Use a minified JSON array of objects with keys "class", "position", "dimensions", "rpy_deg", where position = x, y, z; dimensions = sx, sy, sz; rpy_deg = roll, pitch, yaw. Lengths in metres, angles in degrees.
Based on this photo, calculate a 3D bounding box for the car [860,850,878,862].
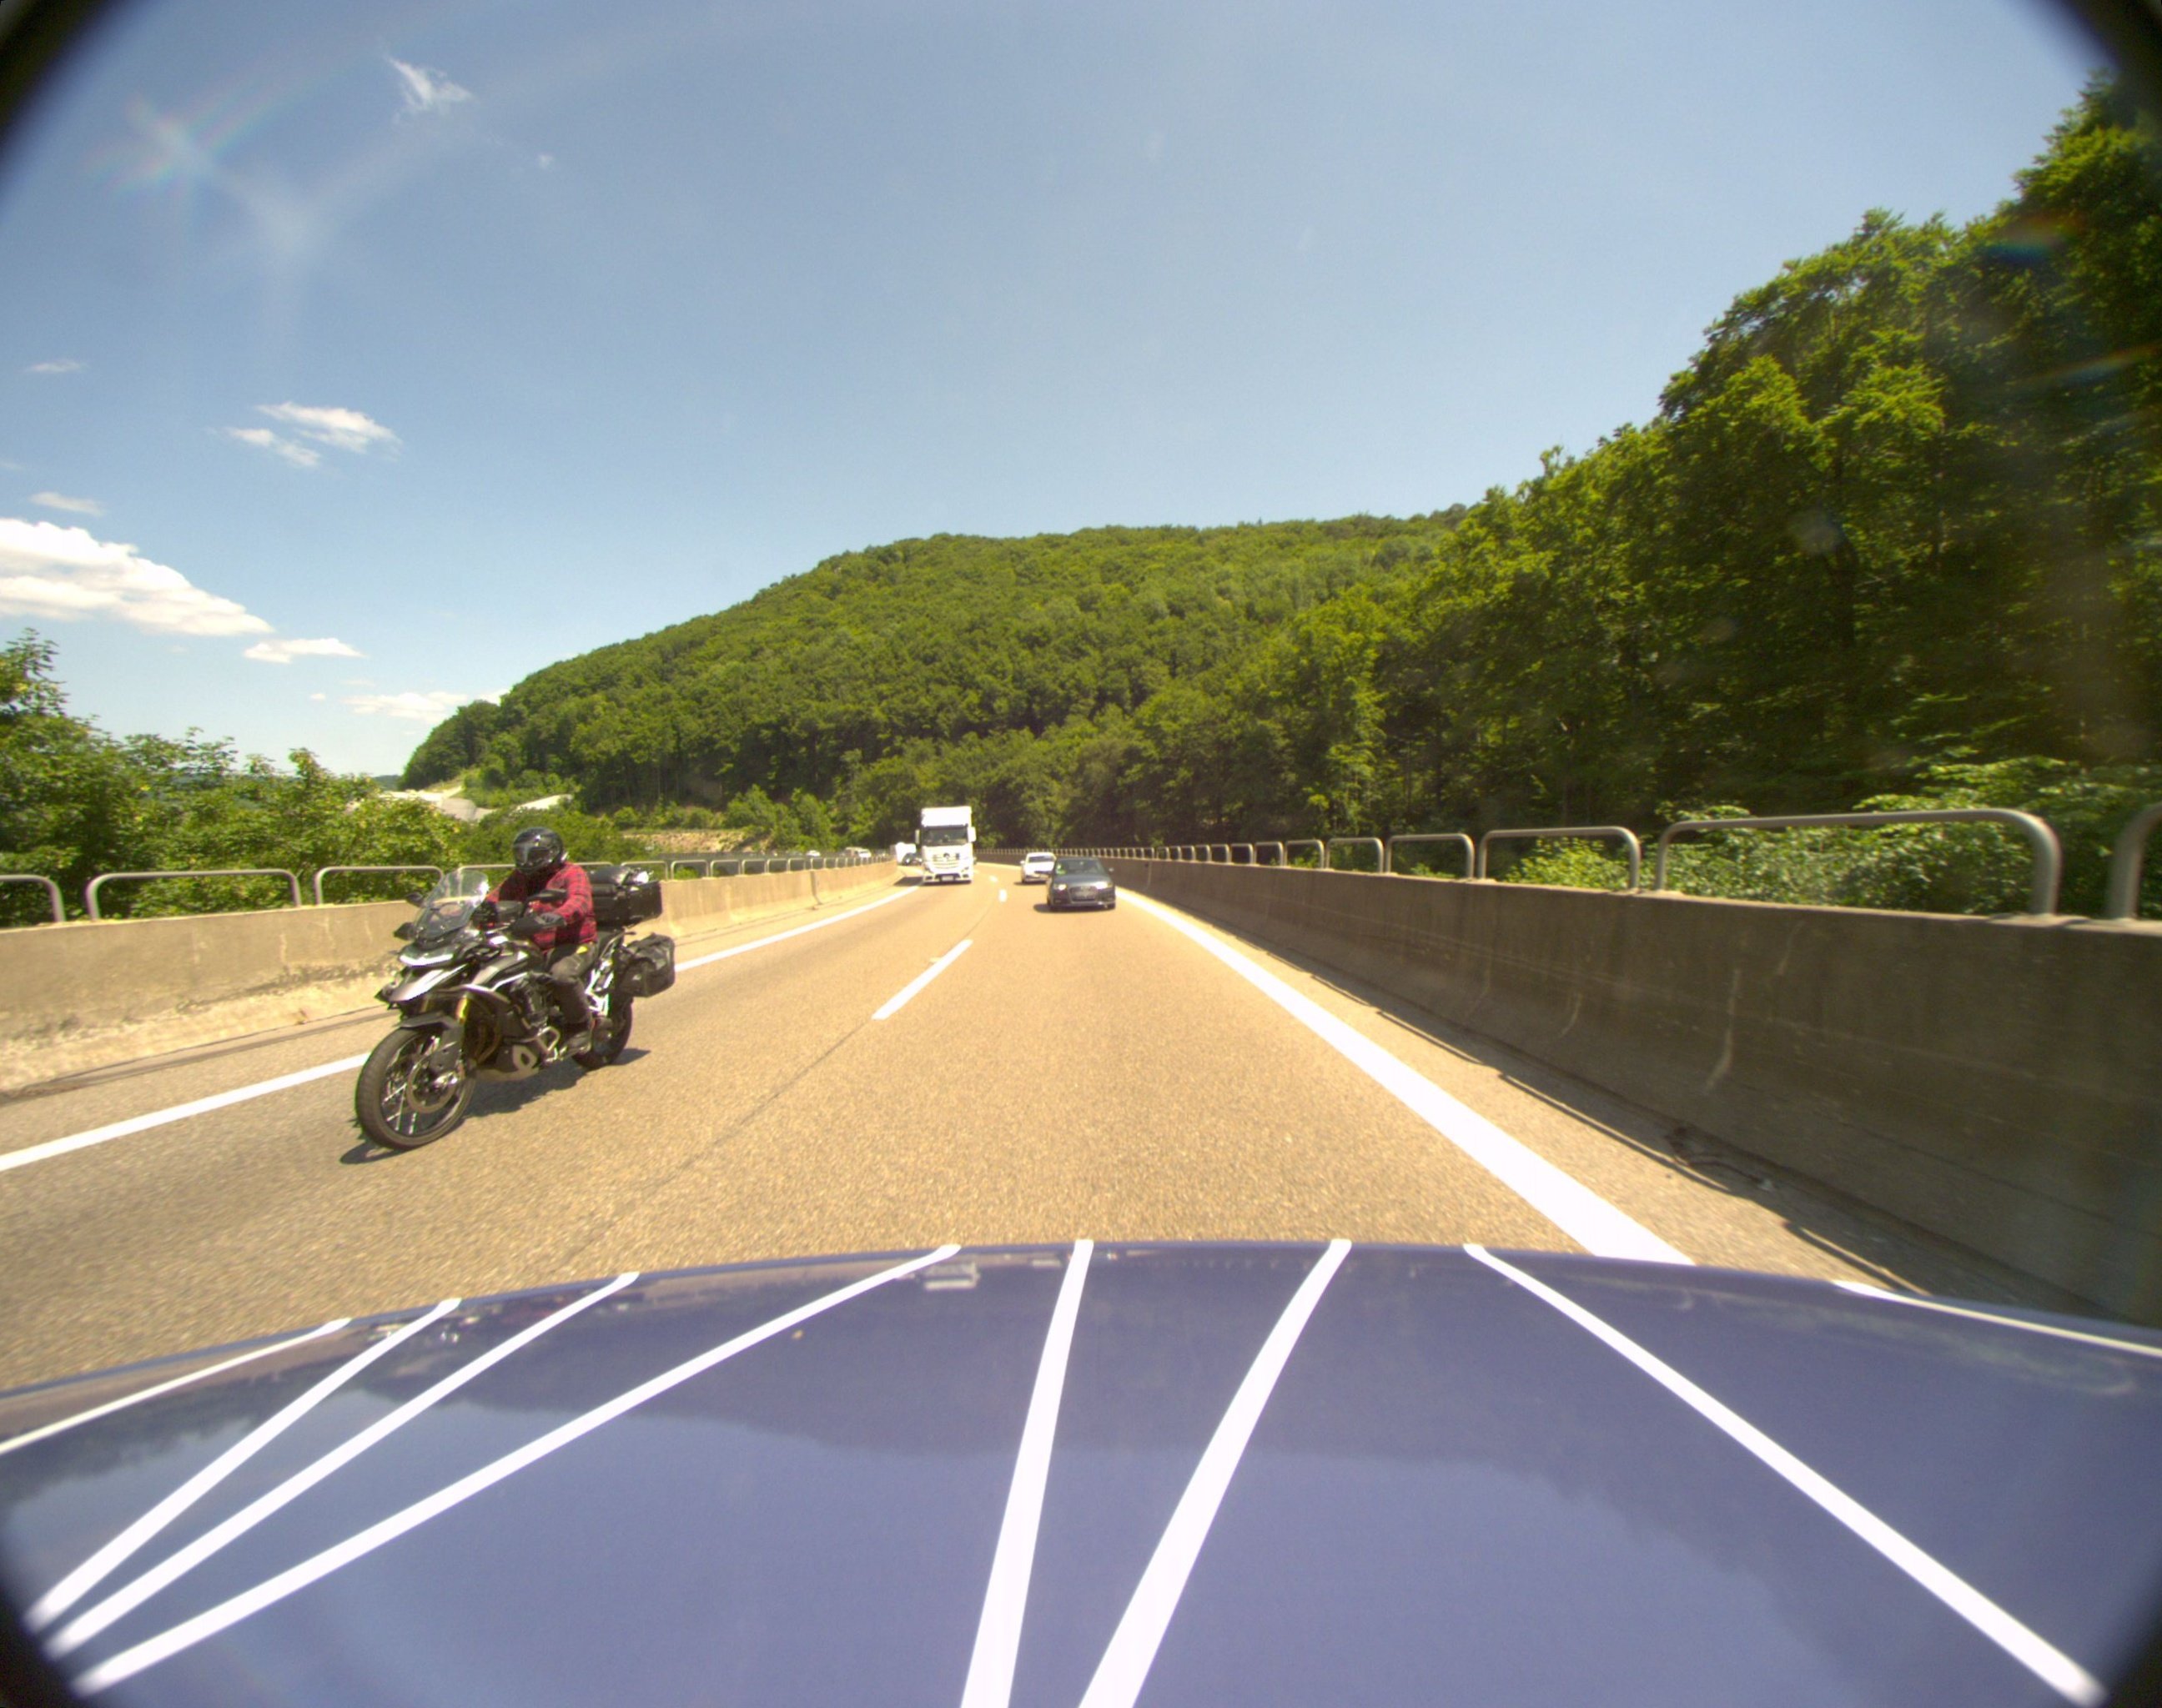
[{"class":"car","position":[-34.085,0.325,122.256],"dimensions":[2.003,2.002,3.991],"rpy_deg":[-2,1,-28]}]

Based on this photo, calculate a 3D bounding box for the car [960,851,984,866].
[{"class":"car","position":[-12.052,0.489,83.866],"dimensions":[1.758,1.480,3.975],"rpy_deg":[-2,1,-20]}]

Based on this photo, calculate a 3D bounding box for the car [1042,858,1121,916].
[{"class":"car","position":[-0.093,0.819,20.704],"dimensions":[1.756,1.350,4.120],"rpy_deg":[-2,0,-5]}]

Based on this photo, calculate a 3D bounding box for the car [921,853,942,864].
[{"class":"car","position":[-20.631,0.588,104.822],"dimensions":[2.002,1.444,3.992],"rpy_deg":[-2,1,-23]}]

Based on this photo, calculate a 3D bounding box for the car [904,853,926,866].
[{"class":"car","position":[-19.738,0.649,90.338],"dimensions":[1.759,1.480,3.974],"rpy_deg":[-2,1,-25]}]

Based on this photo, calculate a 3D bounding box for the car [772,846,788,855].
[{"class":"car","position":[-70.621,-0.782,178.047],"dimensions":[3.988,2.002,2.004],"rpy_deg":[-1,1,44]}]

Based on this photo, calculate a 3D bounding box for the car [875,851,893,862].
[{"class":"car","position":[-34.295,0.400,132.186],"dimensions":[2.003,1.783,3.991],"rpy_deg":[-2,1,-28]}]

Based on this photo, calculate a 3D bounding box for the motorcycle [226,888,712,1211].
[{"class":"motorcycle","position":[-3.618,1.010,5.029],"dimensions":[0.975,1.411,2.681],"rpy_deg":[-2,1,1]}]

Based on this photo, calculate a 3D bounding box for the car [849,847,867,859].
[{"class":"car","position":[-37.739,-0.168,128.472],"dimensions":[2.003,2.002,3.990],"rpy_deg":[0,1,-29]}]

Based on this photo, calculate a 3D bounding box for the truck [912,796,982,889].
[{"class":"truck","position":[-7.366,-0.555,42.425],"dimensions":[2.971,4.108,16.692],"rpy_deg":[-2,0,-9]}]

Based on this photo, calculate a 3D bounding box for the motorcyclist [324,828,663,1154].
[{"class":"motorcyclist","position":[-3.624,0.758,4.884],"dimensions":[1.063,1.790,1.338],"rpy_deg":[-2,1,1]}]

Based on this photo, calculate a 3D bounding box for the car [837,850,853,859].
[{"class":"car","position":[-47.447,0.166,152.824],"dimensions":[2.003,1.783,3.990],"rpy_deg":[-2,1,-34]}]

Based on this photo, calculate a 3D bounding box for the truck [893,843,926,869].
[{"class":"truck","position":[-21.614,0.228,95.476],"dimensions":[2.622,3.084,6.841],"rpy_deg":[-2,1,-25]}]

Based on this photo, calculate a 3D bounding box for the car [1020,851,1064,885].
[{"class":"car","position":[-1.932,0.620,36.840],"dimensions":[1.756,1.460,3.979],"rpy_deg":[-3,1,-7]}]
